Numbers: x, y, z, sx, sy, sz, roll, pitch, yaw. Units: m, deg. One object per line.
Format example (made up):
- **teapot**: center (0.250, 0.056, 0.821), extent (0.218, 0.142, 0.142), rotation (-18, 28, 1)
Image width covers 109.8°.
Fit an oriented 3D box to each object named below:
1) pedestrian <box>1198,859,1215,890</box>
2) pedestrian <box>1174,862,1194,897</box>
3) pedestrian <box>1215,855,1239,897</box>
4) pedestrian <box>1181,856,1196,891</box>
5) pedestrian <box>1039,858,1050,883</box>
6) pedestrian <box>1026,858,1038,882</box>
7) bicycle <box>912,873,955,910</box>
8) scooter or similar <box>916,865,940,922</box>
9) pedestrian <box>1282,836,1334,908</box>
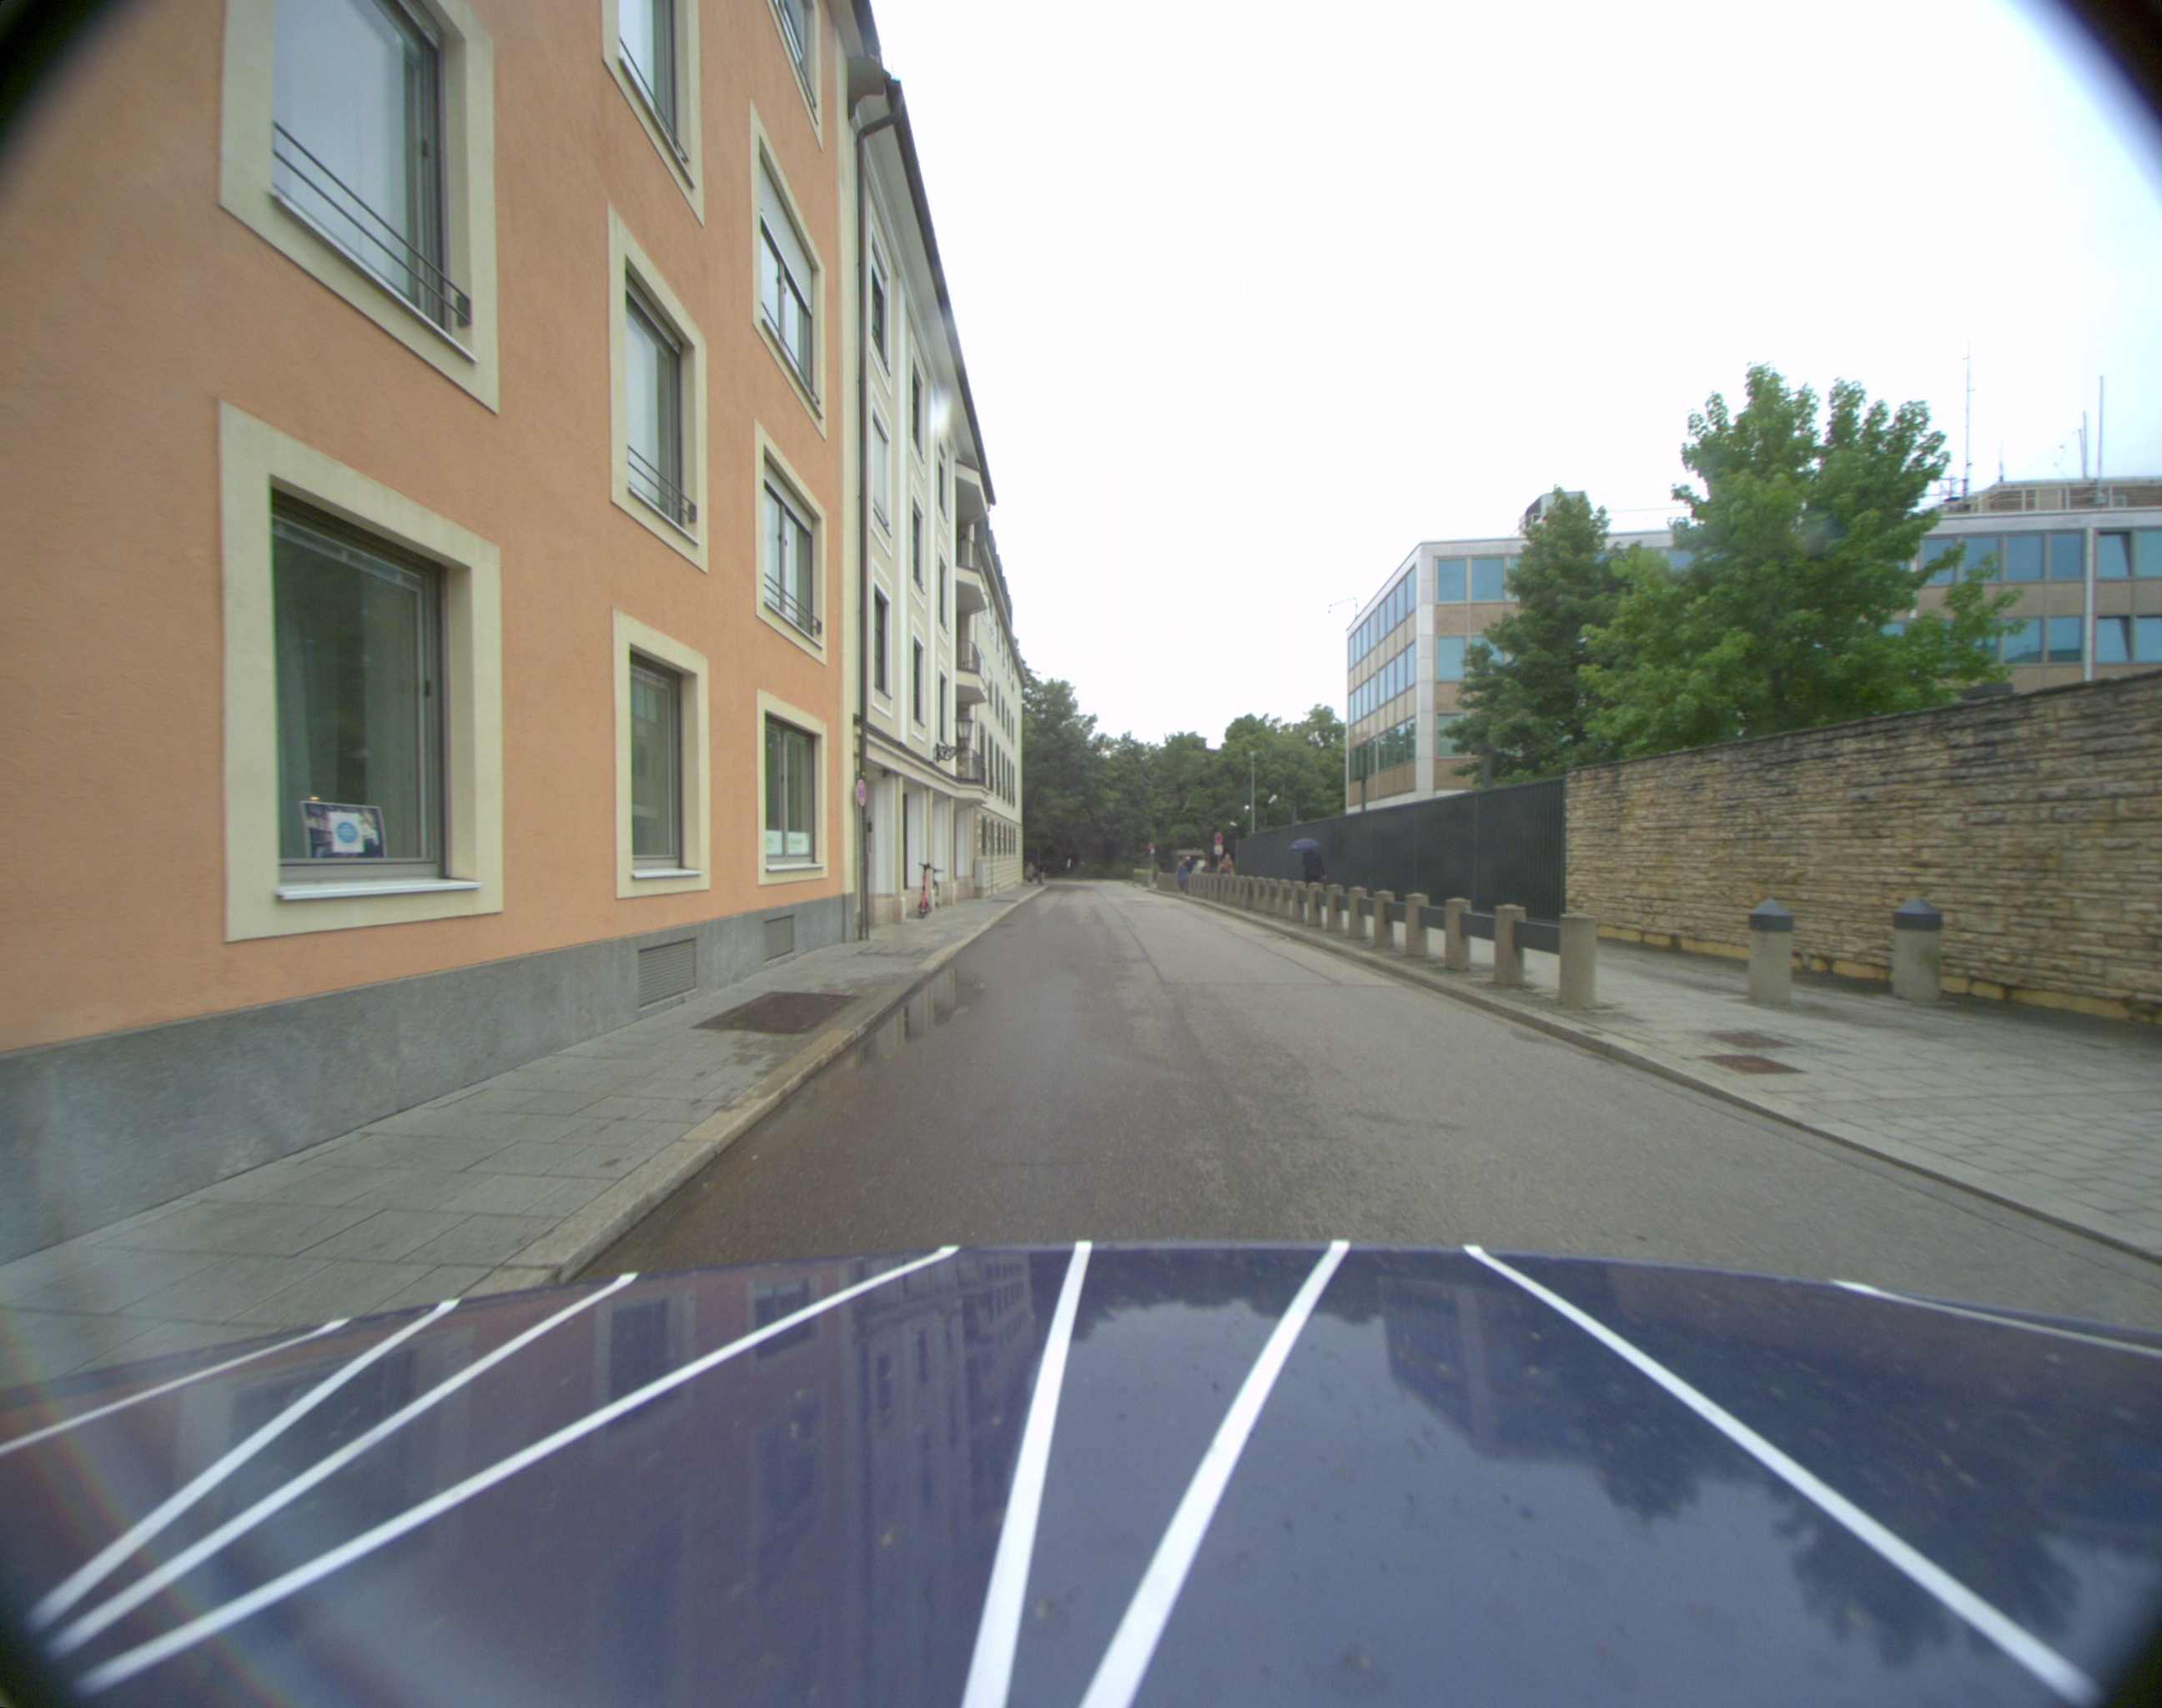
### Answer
- **pedestrian**: center (6.364, 1.021, 38.610), extent (0.778, 1.531, 0.933), rotation (-2, 0, 8)
- **pedestrian**: center (4.408, 1.072, 32.530), extent (0.640, 1.458, 1.079), rotation (-2, 0, 0)
- **pedestrian**: center (6.182, 0.916, 32.220), extent (0.826, 1.713, 0.906), rotation (-2, 0, 5)
- **pedestrian**: center (5.456, 0.977, 38.538), extent (0.625, 1.758, 0.766), rotation (0, 0, -1)
- **pedestrian**: center (-2.544, 1.134, 52.969), extent (0.753, 1.725, 0.853), rotation (0, 0, -2)
- **pedestrian**: center (-3.371, 1.121, 52.512), extent (0.753, 1.671, 0.656), rotation (0, 0, -1)
- **bicycle**: center (-4.122, 1.033, 21.353), extent (0.464, 0.988, 2.080), rotation (0, -1, 10)
- **scooter or similar**: center (-3.637, 0.921, 18.061), extent (0.466, 1.251, 1.275), rotation (2, 1, -14)
- **pedestrian**: center (6.701, 0.524, 22.492), extent (1.226, 2.091, 1.117), rotation (0, 0, 2)
